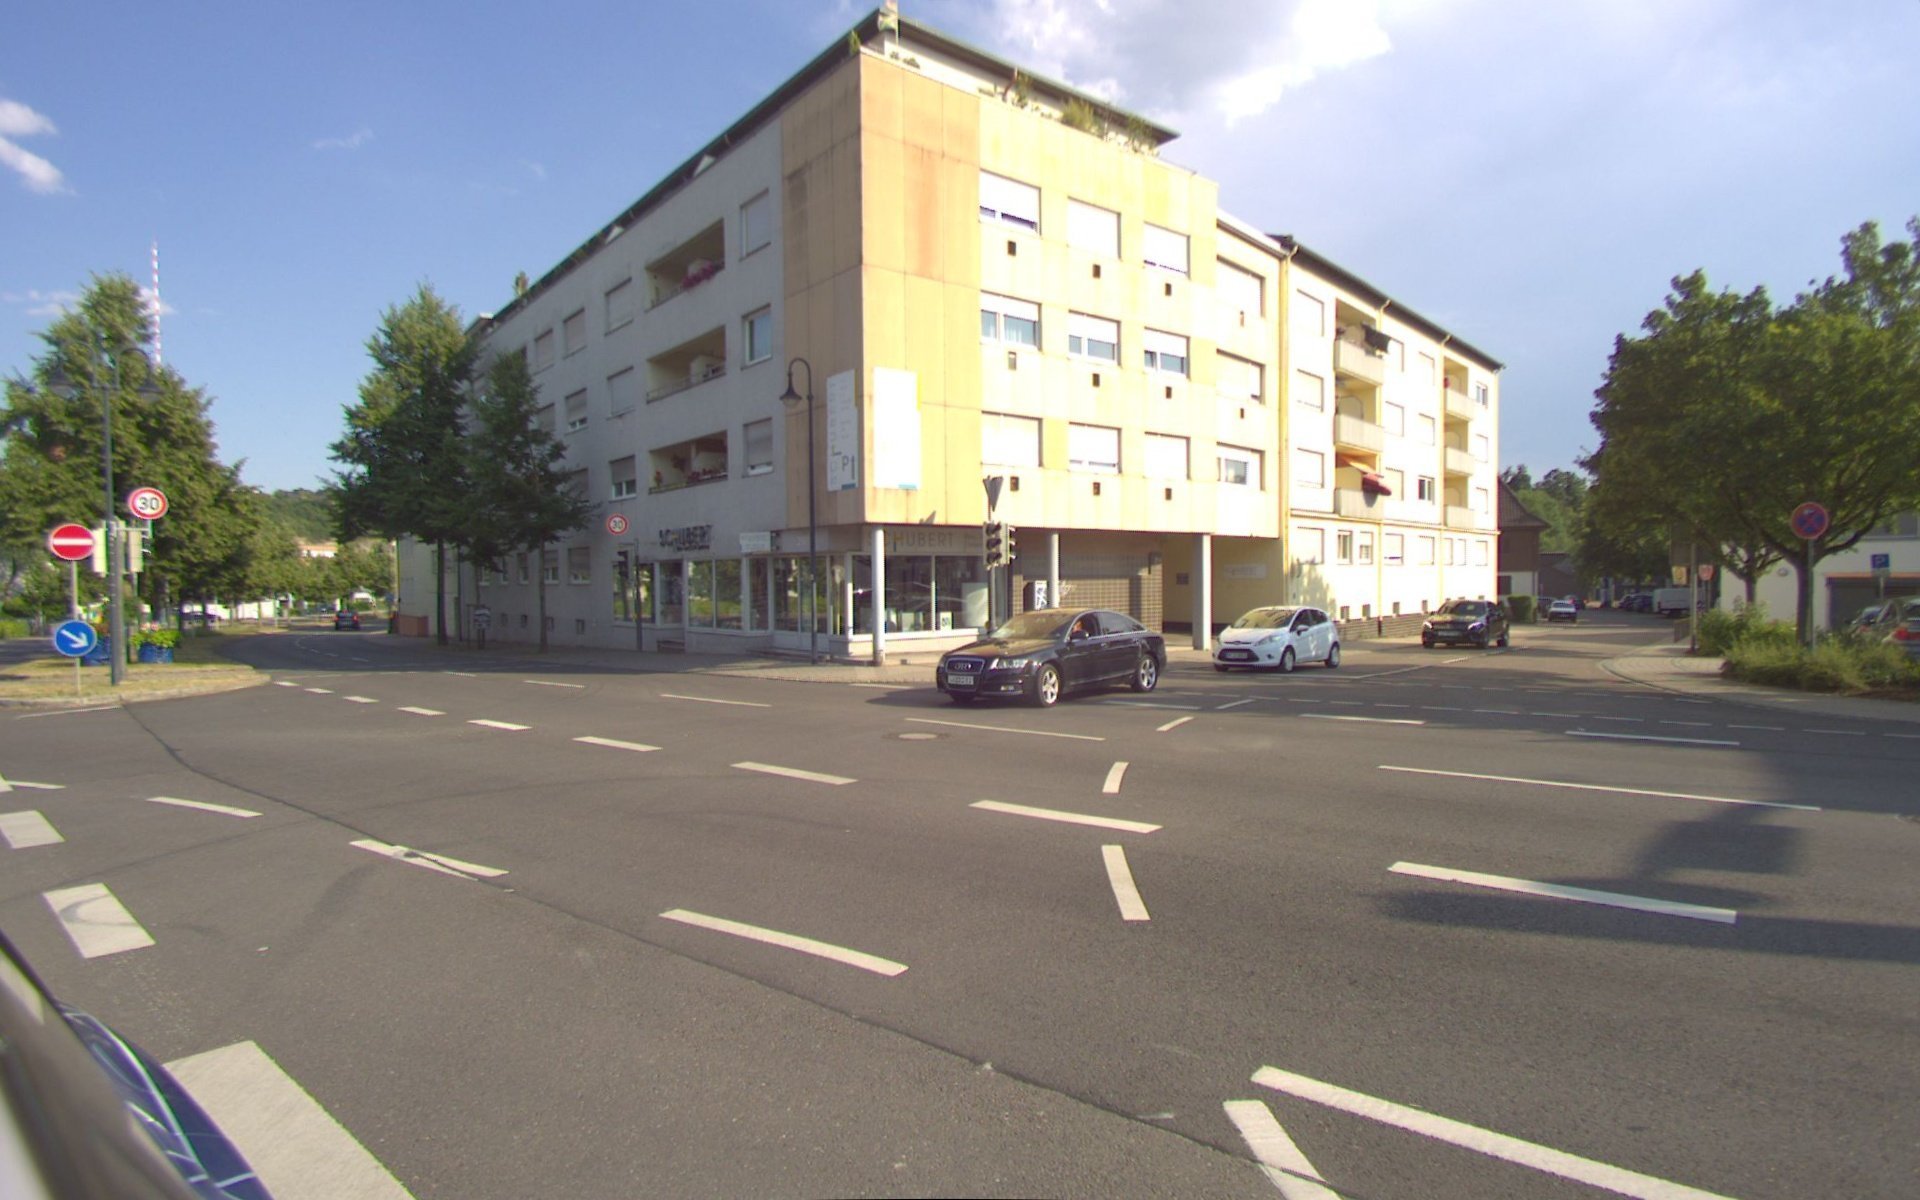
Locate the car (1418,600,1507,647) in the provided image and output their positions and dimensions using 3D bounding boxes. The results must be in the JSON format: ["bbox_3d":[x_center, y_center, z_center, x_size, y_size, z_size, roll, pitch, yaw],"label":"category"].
[{"bbox_3d":[16.483,0.746,33.126,1.748,1.447,3.542,-1,-1,42],"label":"car"}]

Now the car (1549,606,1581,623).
[{"bbox_3d":[45.132,1.081,75.475,1.745,1.269,3.547,-1,-1,37],"label":"car"}]

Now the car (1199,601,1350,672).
[{"bbox_3d":[7.111,0.777,22.692,1.867,1.447,3.772,-1,-1,42],"label":"car"}]

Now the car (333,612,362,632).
[{"bbox_3d":[-55.115,1.986,91.119,1.826,1.750,4.938,0,-1,-26],"label":"car"}]

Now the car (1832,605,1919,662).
[{"bbox_3d":[24.436,0.856,26.634,1.743,1.410,3.616,-1,-1,33],"label":"car"}]

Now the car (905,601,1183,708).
[{"bbox_3d":[1.491,0.766,16.130,1.917,1.447,4.806,-1,-1,42],"label":"car"}]
